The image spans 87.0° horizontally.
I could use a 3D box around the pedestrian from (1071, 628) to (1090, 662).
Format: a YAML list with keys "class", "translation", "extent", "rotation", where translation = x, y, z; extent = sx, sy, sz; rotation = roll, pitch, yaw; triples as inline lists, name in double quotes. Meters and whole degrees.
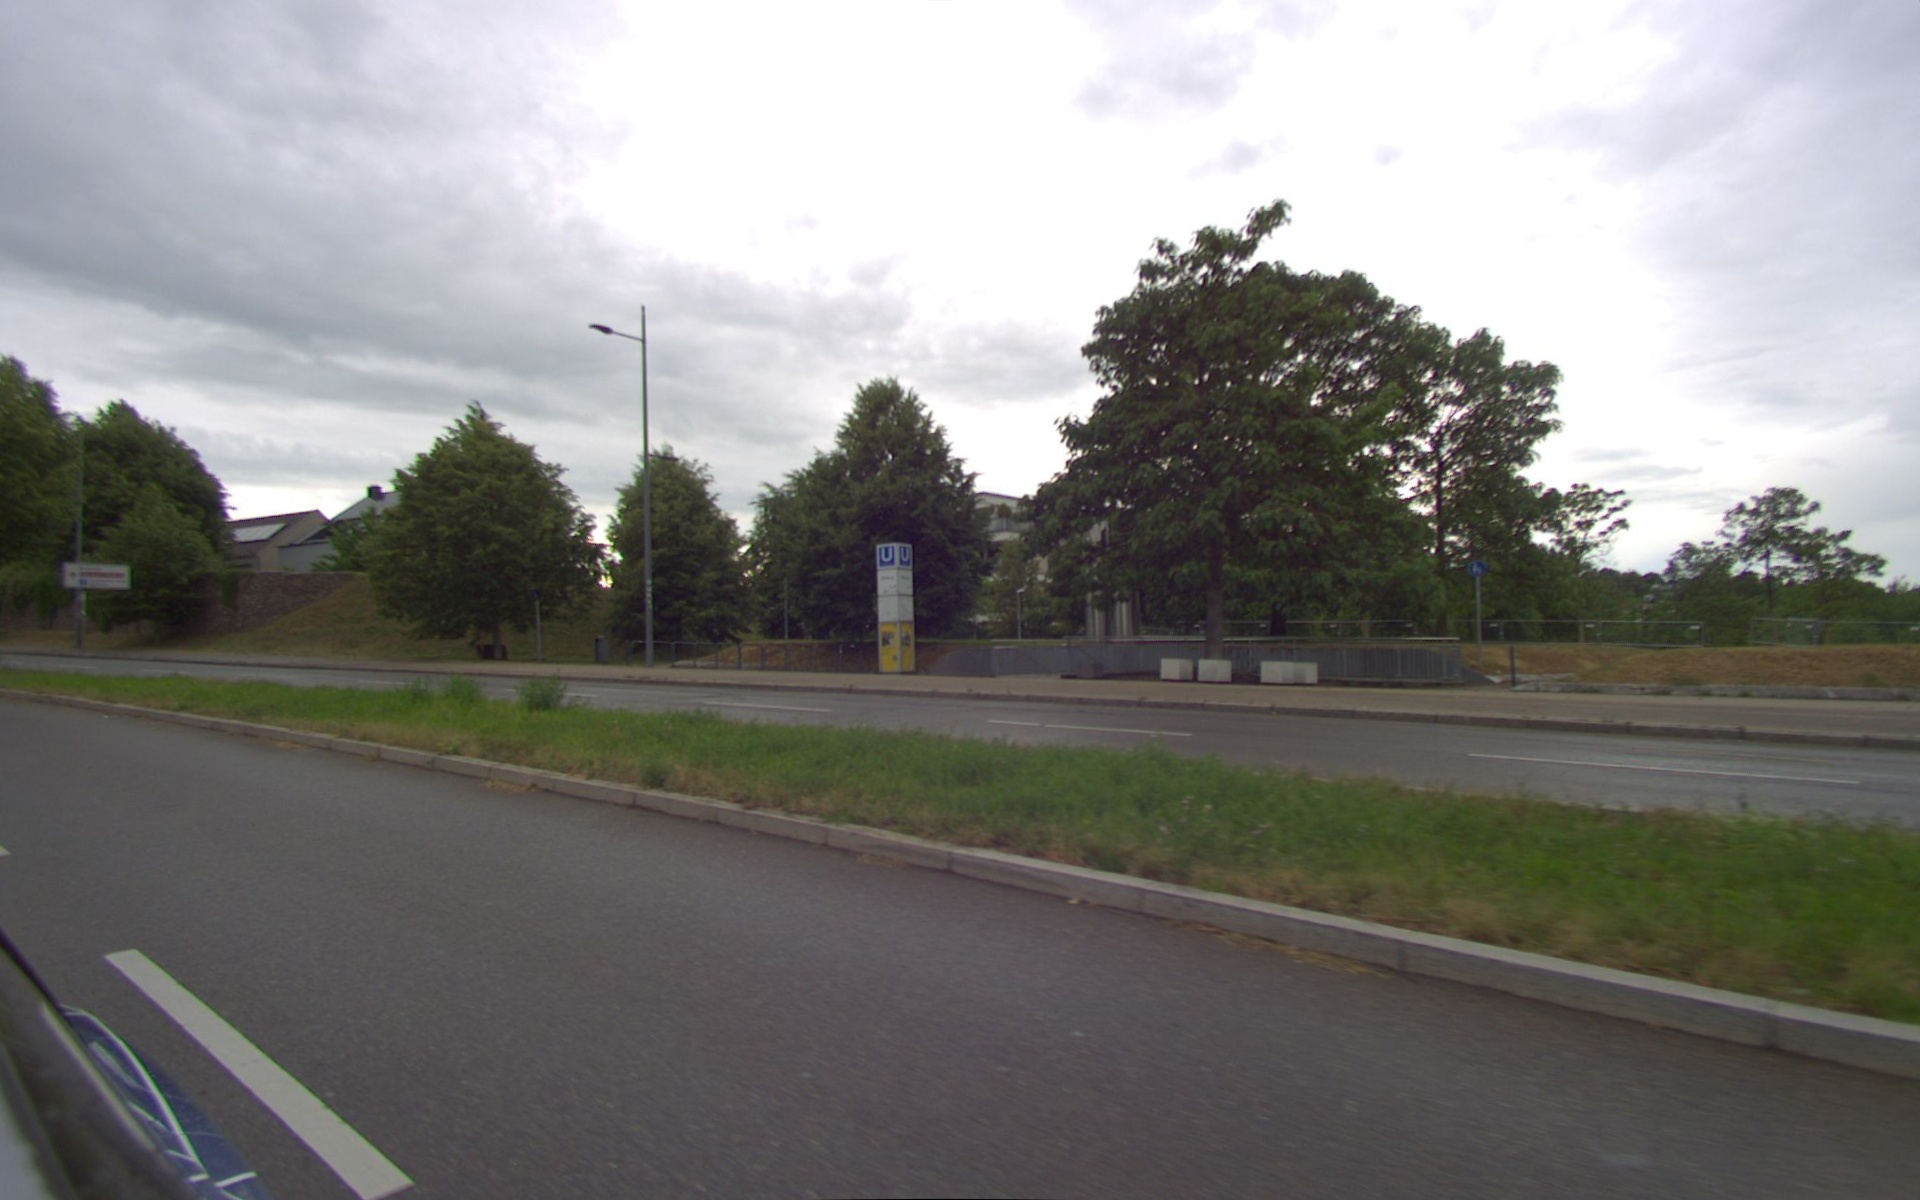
- class: "pedestrian"
  translation: [6.296, 2.342, 52.761]
  extent: [0.647, 1.741, 0.745]
  rotation: [0, -1, 40]

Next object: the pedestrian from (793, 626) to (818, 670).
- class: "pedestrian"
  translation: [-6.162, 1.898, 40.308]
  extent: [0.754, 1.741, 0.640]
  rotation: [0, -1, 35]
